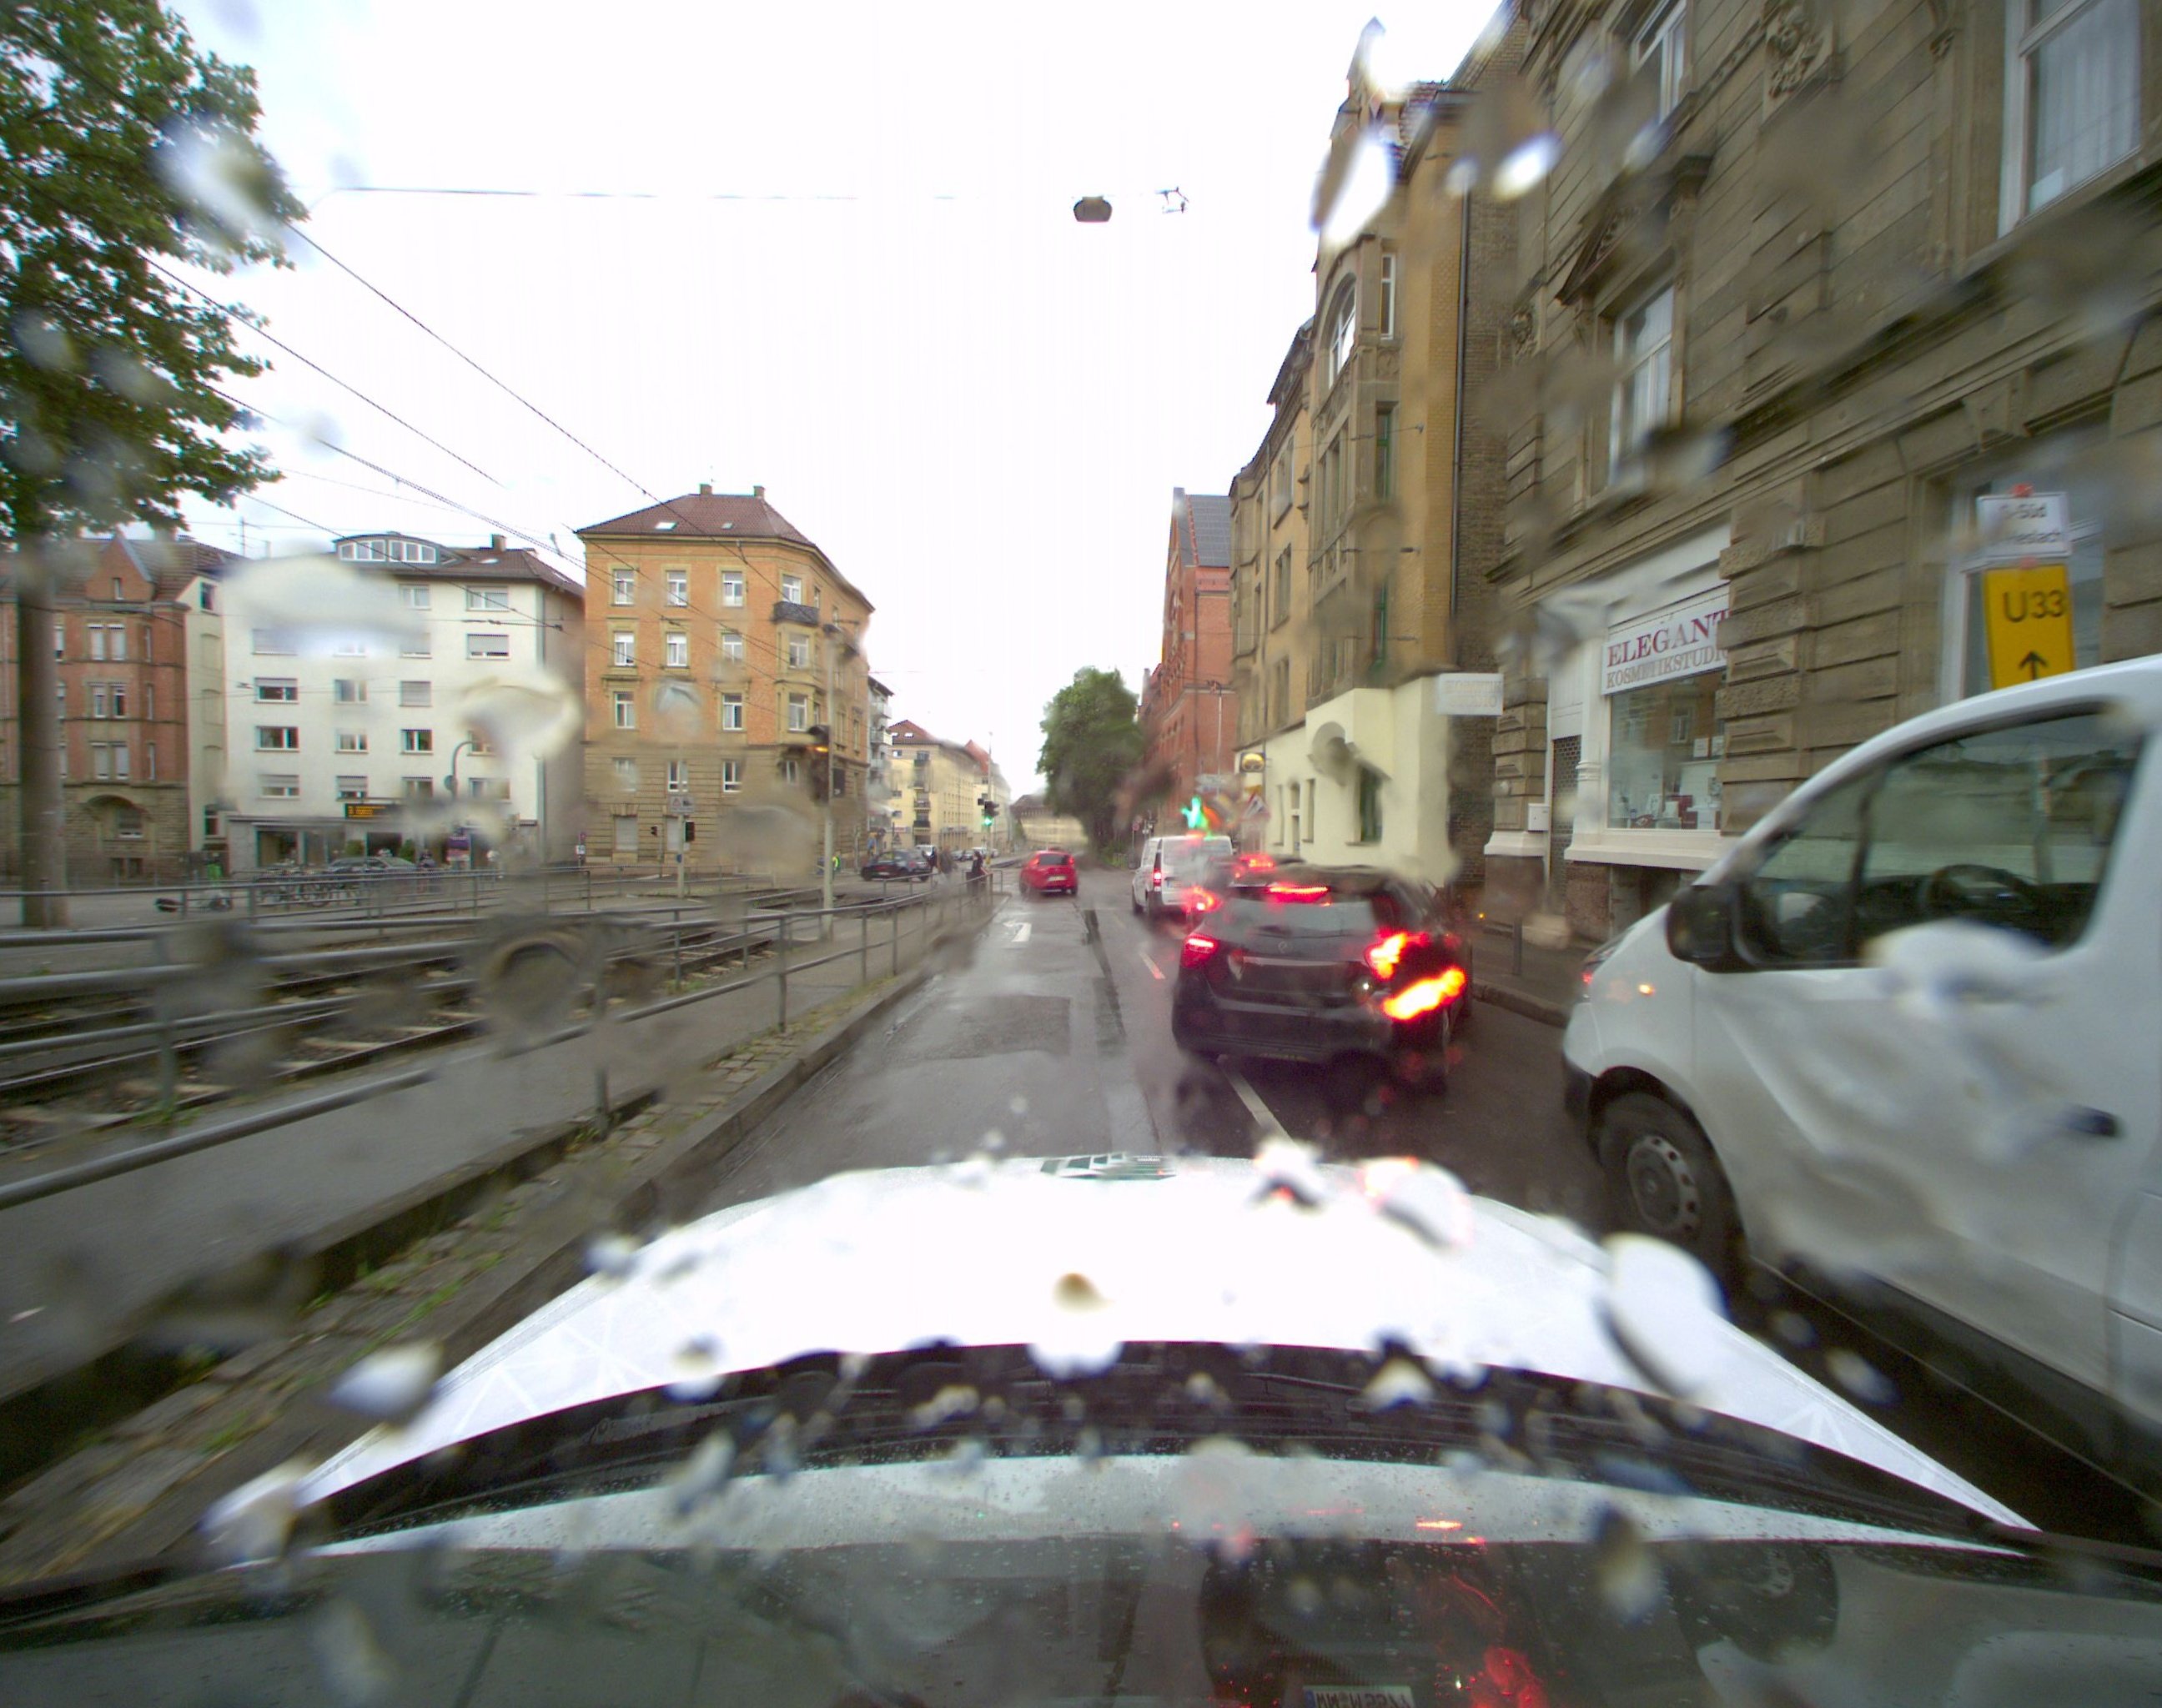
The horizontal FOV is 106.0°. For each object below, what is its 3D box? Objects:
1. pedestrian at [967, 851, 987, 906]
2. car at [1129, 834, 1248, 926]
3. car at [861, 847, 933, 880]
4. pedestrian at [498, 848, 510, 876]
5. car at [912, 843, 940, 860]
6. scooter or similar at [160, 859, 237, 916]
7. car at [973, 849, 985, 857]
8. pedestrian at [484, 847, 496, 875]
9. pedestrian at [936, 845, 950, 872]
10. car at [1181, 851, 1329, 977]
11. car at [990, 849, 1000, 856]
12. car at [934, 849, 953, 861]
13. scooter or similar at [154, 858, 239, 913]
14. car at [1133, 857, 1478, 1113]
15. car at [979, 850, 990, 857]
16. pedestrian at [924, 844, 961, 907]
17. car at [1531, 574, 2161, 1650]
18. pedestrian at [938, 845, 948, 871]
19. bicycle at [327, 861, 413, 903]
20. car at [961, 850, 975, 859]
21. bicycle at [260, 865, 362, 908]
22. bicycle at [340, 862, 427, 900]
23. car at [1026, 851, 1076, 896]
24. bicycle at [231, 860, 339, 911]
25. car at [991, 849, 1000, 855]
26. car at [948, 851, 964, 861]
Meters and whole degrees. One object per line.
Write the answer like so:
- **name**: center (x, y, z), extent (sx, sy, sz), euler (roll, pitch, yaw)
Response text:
- **pedestrian**: center (-2.901, 0.674, 22.712), extent (0.531, 1.530, 0.435), euler (0, 0, -9)
- **car**: center (2.268, 0.499, 18.358), extent (1.929, 1.831, 4.276), euler (0, 0, -3)
- **car**: center (-8.780, 0.436, 38.816), extent (3.123, 1.489, 1.433), euler (1, 1, 26)
- **pedestrian**: center (-33.423, 0.466, 47.169), extent (0.520, 1.622, 0.480), euler (0, 0, -40)
- **car**: center (-14.743, -0.219, 77.822), extent (1.780, 1.530, 4.462), euler (0, 0, 0)
- **scooter or similar**: center (-19.199, 0.708, 17.731), extent (0.357, 1.195, 1.119), euler (0, 0, 39)
- **car**: center (-15.161, -0.121, 121.541), extent (1.390, 1.171, 3.161), euler (0, 0, 0)
- **pedestrian**: center (-34.106, 0.385, 47.001), extent (0.520, 1.622, 0.480), euler (0, 0, -40)
- **pedestrian**: center (-8.639, 0.261, 50.957), extent (0.675, 1.661, 0.677), euler (0, 0, 6)
- **car**: center (2.310, 0.692, 11.718), extent (1.704, 1.469, 4.290), euler (0, 0, 7)
- **car**: center (-15.352, -0.260, 145.300), extent (1.390, 1.171, 3.161), euler (0, 0, 0)
- **car**: center (-14.867, 0.098, 88.346), extent (1.495, 1.356, 3.161), euler (0, 0, 0)
- **scooter or similar**: center (-19.695, 0.681, 18.148), extent (0.296, 1.195, 1.259), euler (0, 0, 39)
- **car**: center (2.136, 0.732, 6.726), extent (1.877, 1.390, 4.024), euler (0, 0, 29)
- **car**: center (-15.218, -0.055, 128.097), extent (1.390, 1.171, 3.161), euler (0, 0, 0)
- **pedestrian**: center (-3.876, 0.576, 22.780), extent (0.745, 1.724, 0.732), euler (0, 0, -44)
- **car**: center (2.900, 0.466, 1.242), extent (1.914, 1.936, 4.686), euler (0, 0, 1)
- **pedestrian**: center (-8.784, 0.267, 51.932), extent (0.516, 1.666, 0.477), euler (1, 0, 2)
- **bicycle**: center (-19.858, 0.765, 22.780), extent (1.768, 1.142, 0.516), euler (0, 0, -12)
- **car**: center (-15.225, 0.028, 110.026), extent (1.390, 1.171, 3.161), euler (0, 0, 0)
- **bicycle**: center (-19.560, 0.814, 20.710), extent (1.872, 1.061, 0.516), euler (0, 0, -12)
- **bicycle**: center (-20.072, 0.767, 23.458), extent (1.872, 1.065, 0.516), euler (0, 0, -12)
- **car**: center (-1.063, 0.633, 29.173), extent (1.676, 1.489, 3.610), euler (0, 0, -2)
- **bicycle**: center (-19.253, 0.747, 19.722), extent (1.872, 1.195, 0.516), euler (0, 0, -12)
- **car**: center (-15.695, -0.332, 149.784), extent (1.390, 1.171, 3.161), euler (0, 0, 0)
- **car**: center (-14.853, 0.229, 96.992), extent (1.432, 1.106, 3.161), euler (0, 0, 0)
